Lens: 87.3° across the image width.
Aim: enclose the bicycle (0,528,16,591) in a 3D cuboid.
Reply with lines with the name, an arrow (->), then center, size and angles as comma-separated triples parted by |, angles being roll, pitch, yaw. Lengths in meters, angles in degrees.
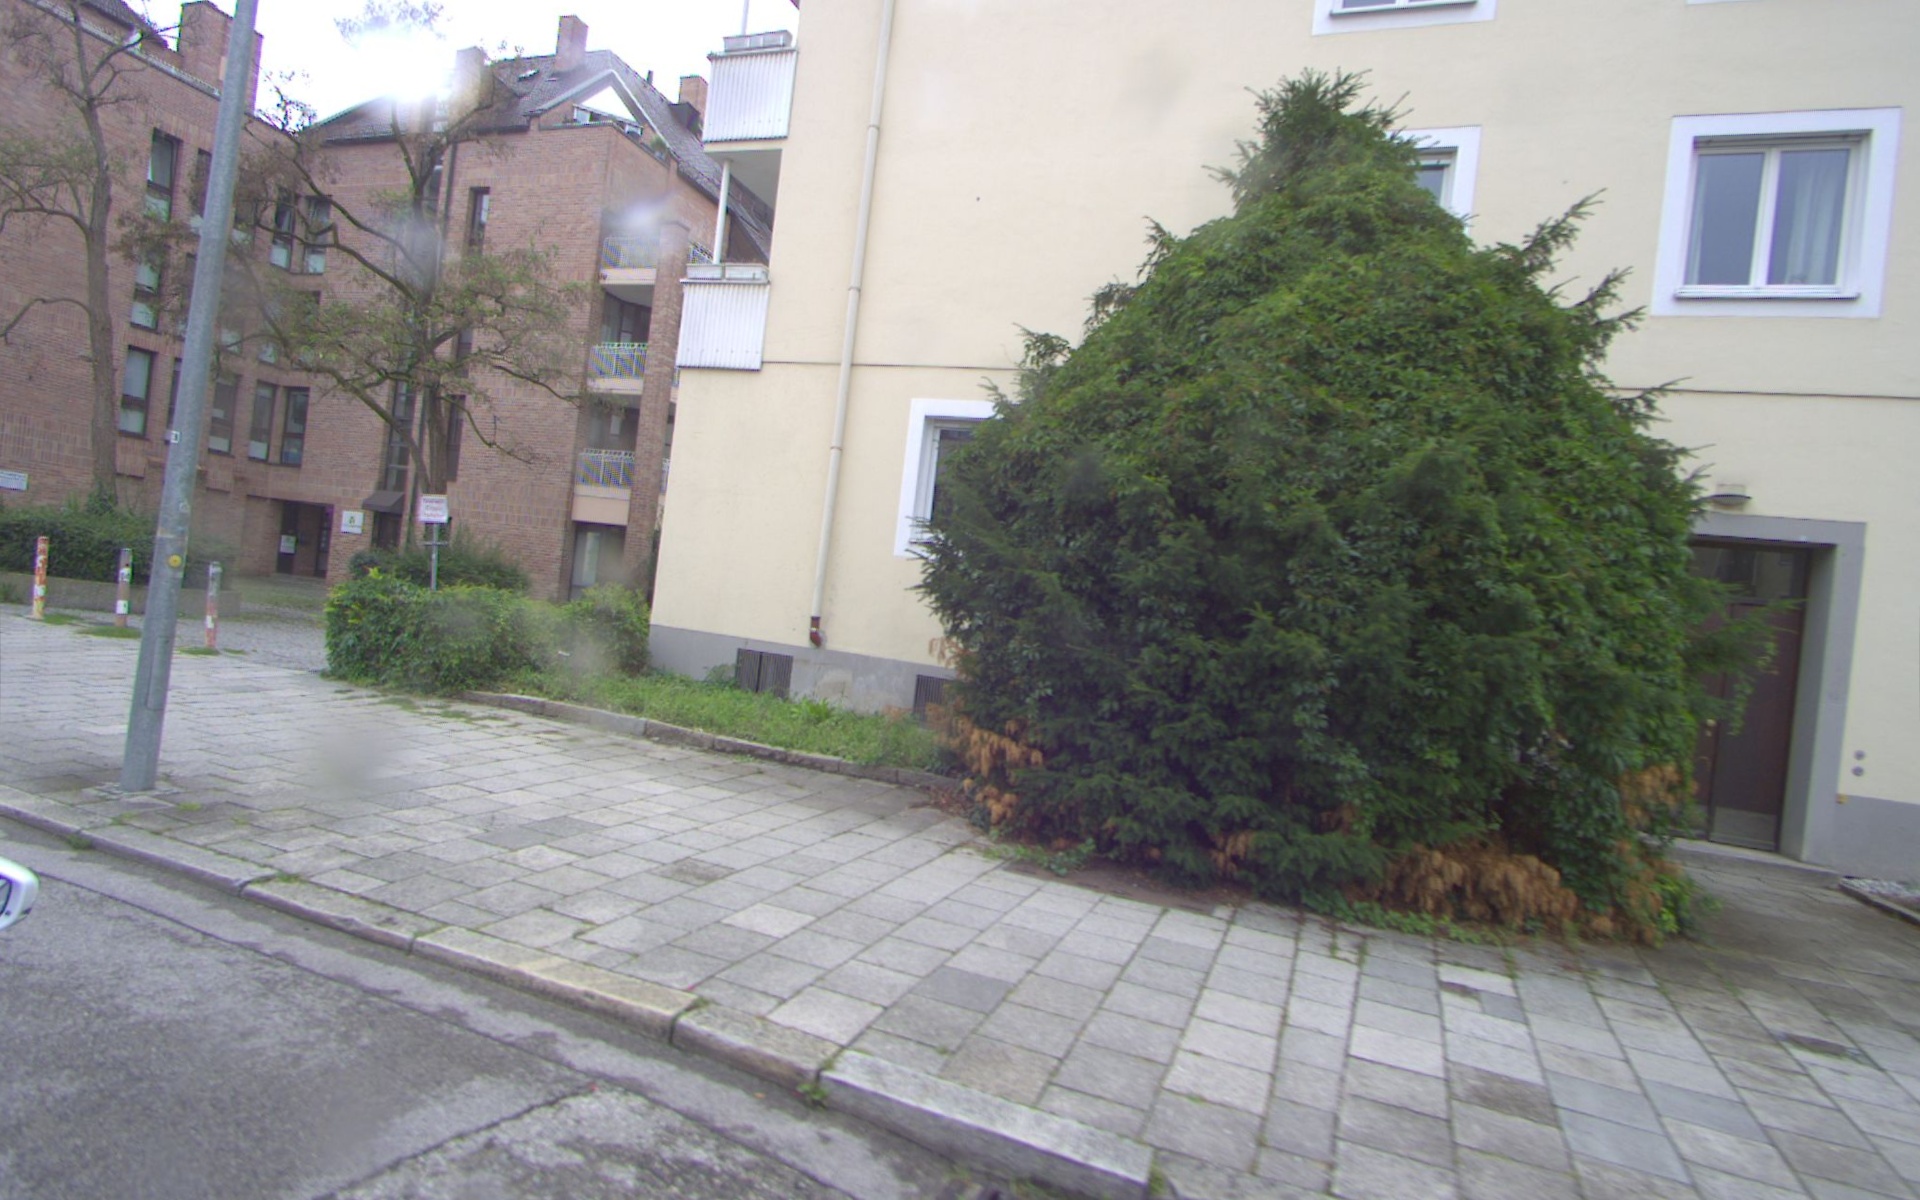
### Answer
bicycle -> -15.917, -0.744, 15.591 | 0.536, 0.976, 1.707 | 8, -2, 23
